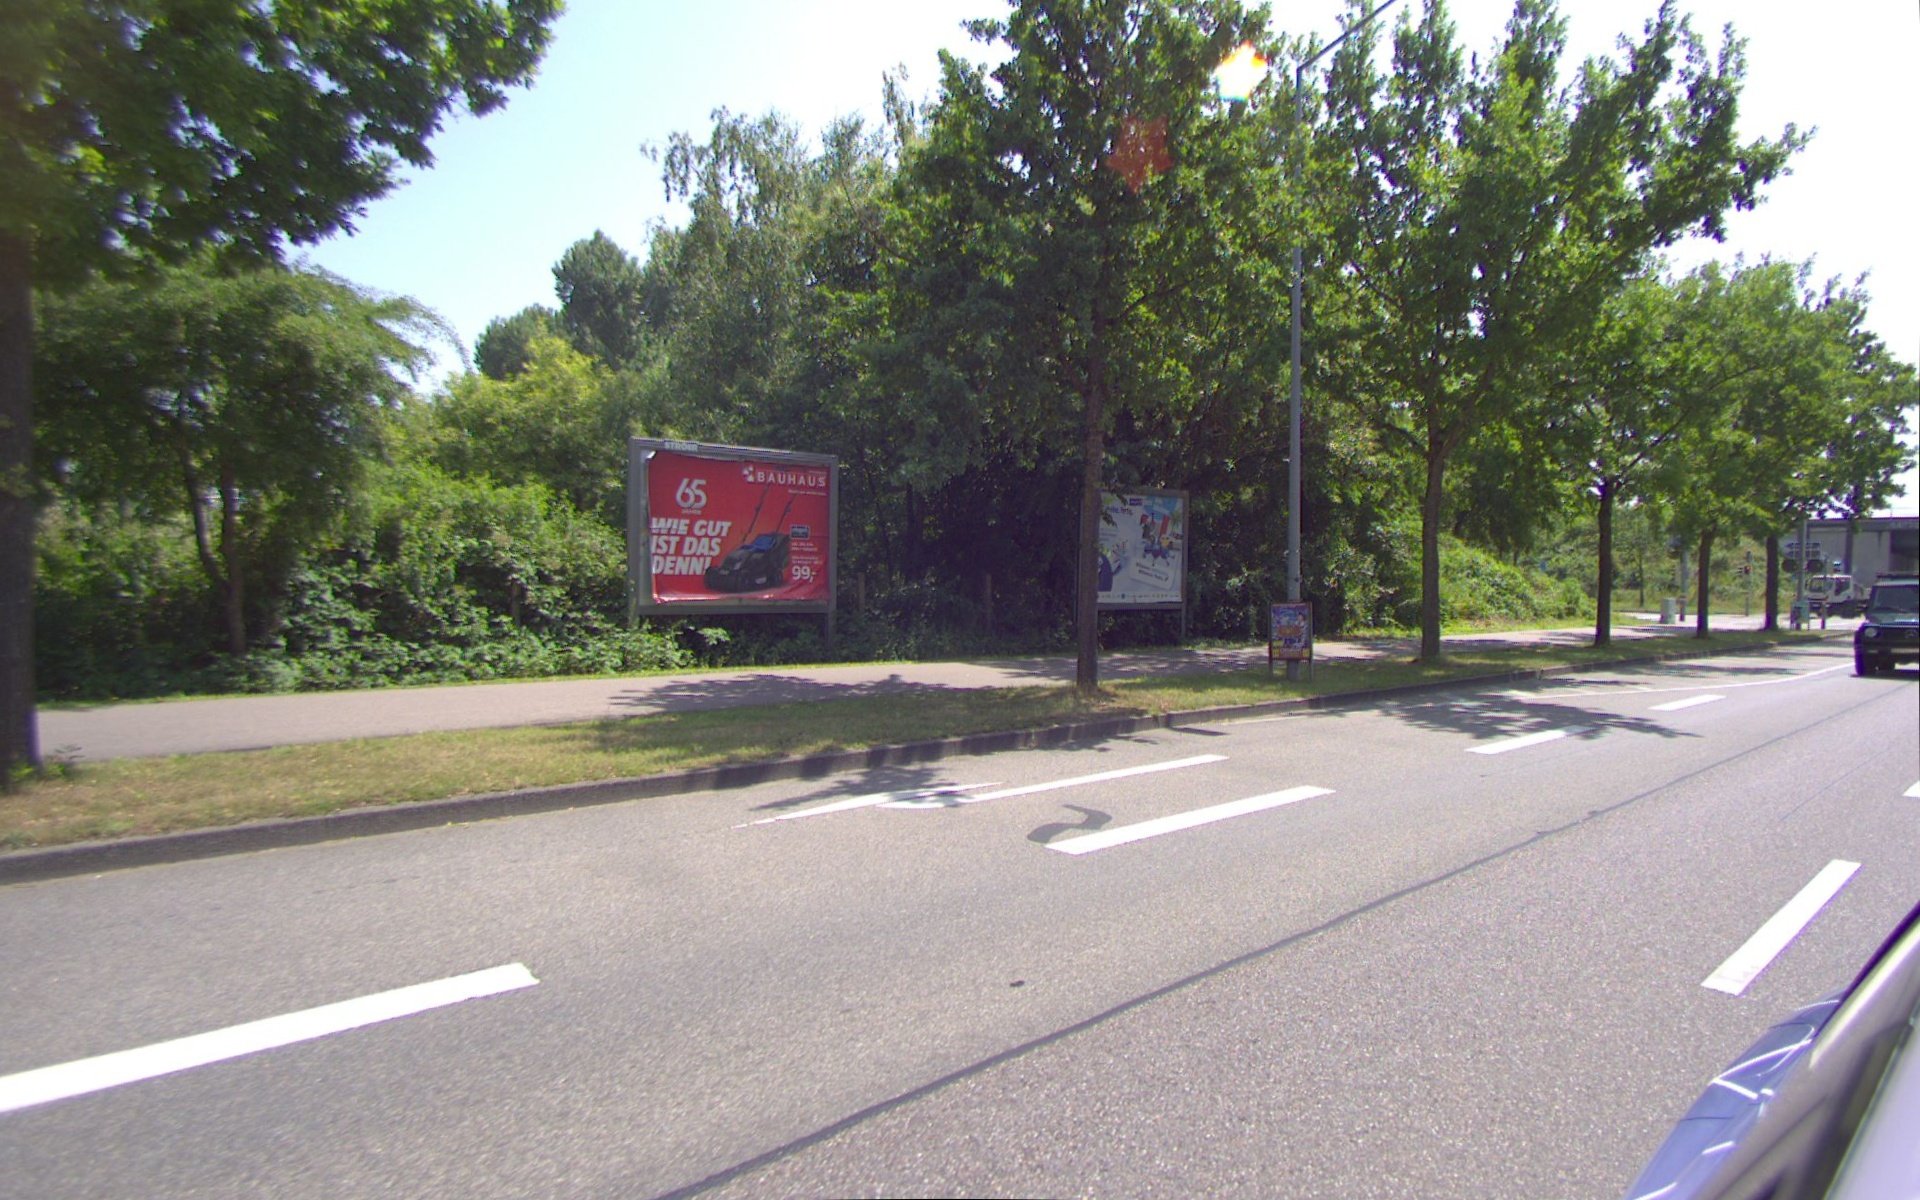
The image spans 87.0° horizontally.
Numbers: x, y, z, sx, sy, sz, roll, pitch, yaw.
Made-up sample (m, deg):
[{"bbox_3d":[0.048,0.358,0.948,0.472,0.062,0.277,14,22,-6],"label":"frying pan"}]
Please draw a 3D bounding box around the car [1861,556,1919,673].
[{"bbox_3d":[19.711,0.253,20.332,4.478,2.180,1.840,-1,2,-41],"label":"car"}]

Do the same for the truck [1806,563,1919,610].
[{"bbox_3d":[60.522,-0.856,65.494,8.386,2.952,2.877,0,1,13],"label":"truck"}]
